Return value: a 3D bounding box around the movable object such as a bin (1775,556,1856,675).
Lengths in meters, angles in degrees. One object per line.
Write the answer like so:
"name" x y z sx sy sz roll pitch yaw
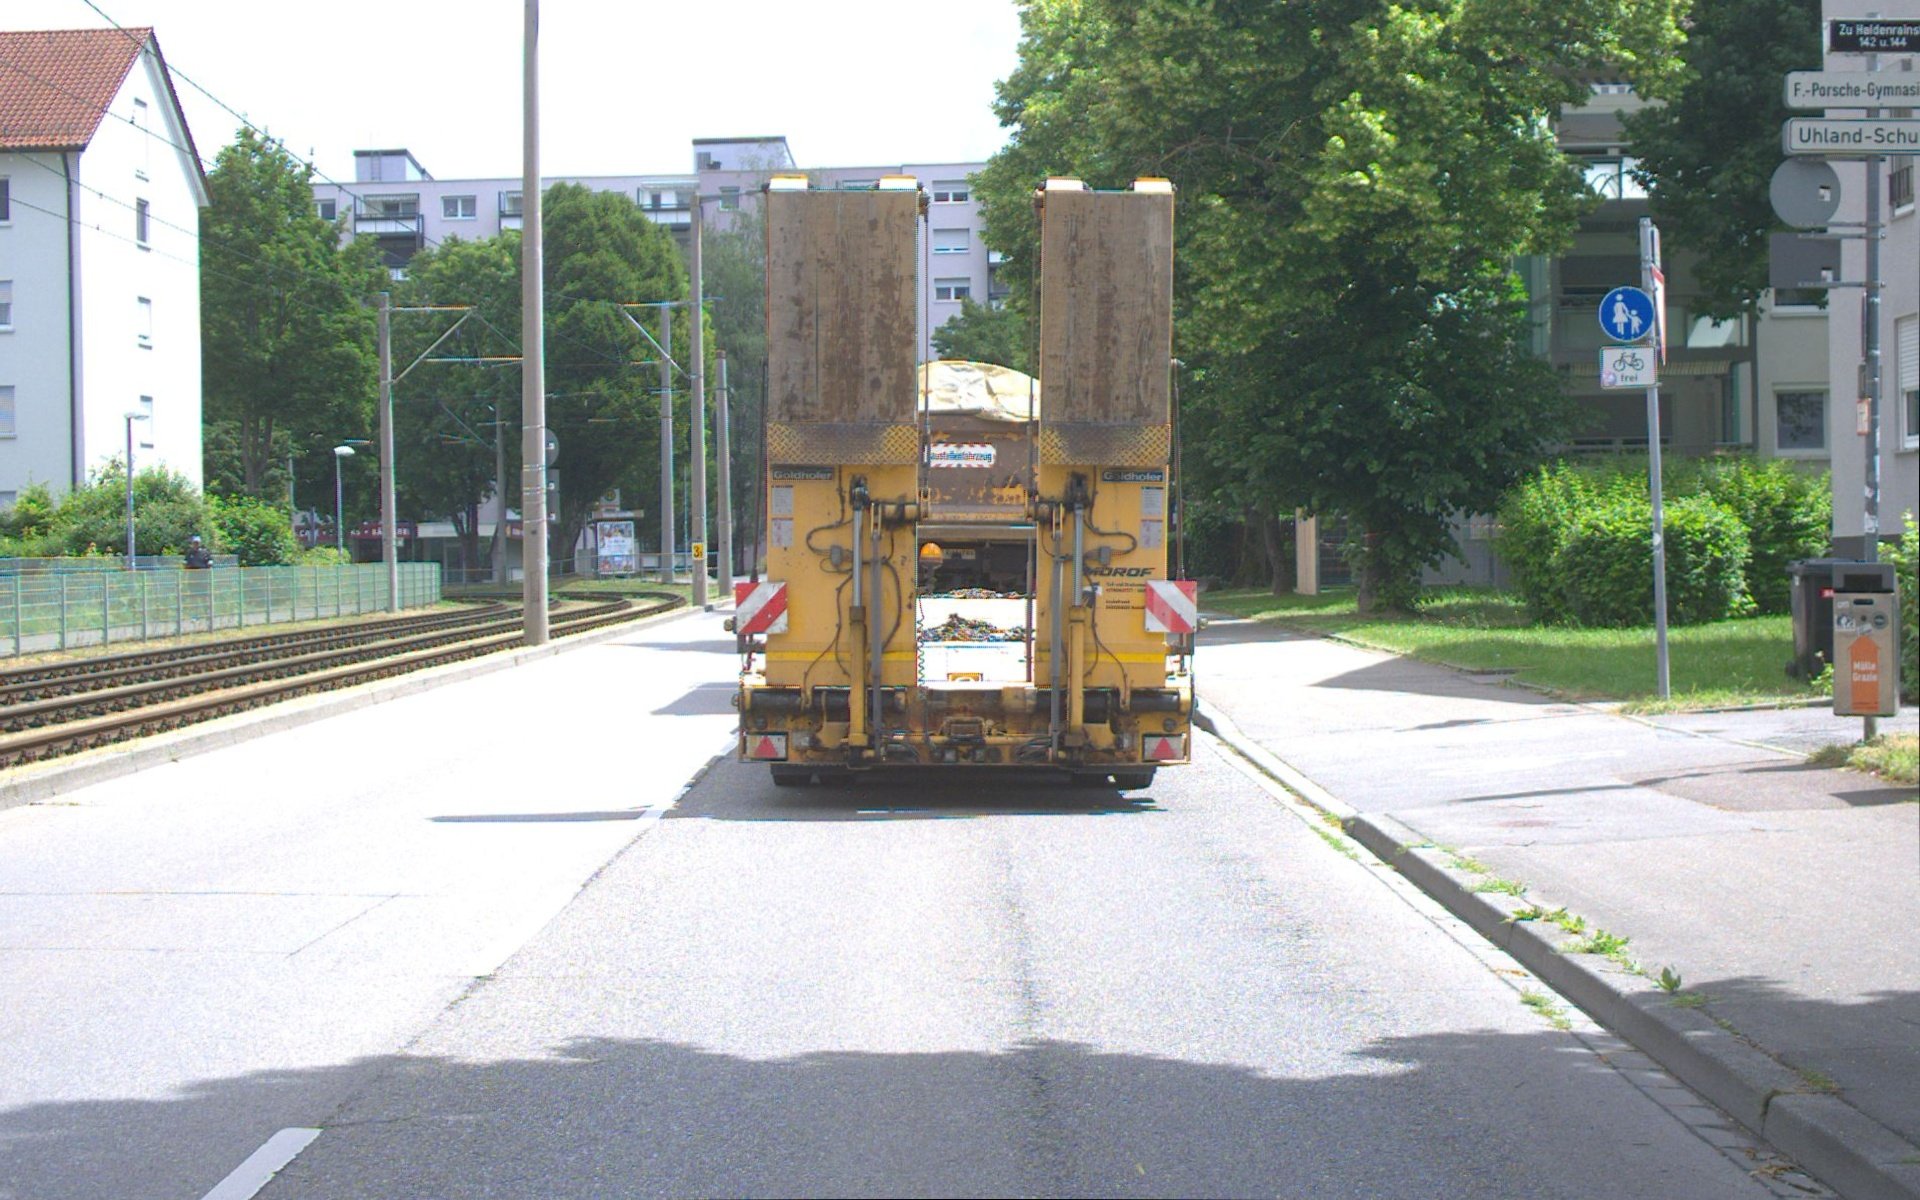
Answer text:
"movable object such as a bin" 7.043 0.123 28.320 0.496 0.951 0.580 -2 1 0

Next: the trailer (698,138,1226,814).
"trailer" -0.202 -0.778 24.897 2.827 3.633 12.355 1 1 -2

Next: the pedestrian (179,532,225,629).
"pedestrian" -14.771 -0.385 66.975 0.659 1.842 0.768 -2 1 0

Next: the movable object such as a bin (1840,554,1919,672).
"movable object such as a bin" 7.583 0.099 28.312 0.500 0.944 0.551 -2 1 0

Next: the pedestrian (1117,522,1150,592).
"pedestrian" 4.304 -1.065 85.258 0.718 1.700 0.766 -2 1 0
